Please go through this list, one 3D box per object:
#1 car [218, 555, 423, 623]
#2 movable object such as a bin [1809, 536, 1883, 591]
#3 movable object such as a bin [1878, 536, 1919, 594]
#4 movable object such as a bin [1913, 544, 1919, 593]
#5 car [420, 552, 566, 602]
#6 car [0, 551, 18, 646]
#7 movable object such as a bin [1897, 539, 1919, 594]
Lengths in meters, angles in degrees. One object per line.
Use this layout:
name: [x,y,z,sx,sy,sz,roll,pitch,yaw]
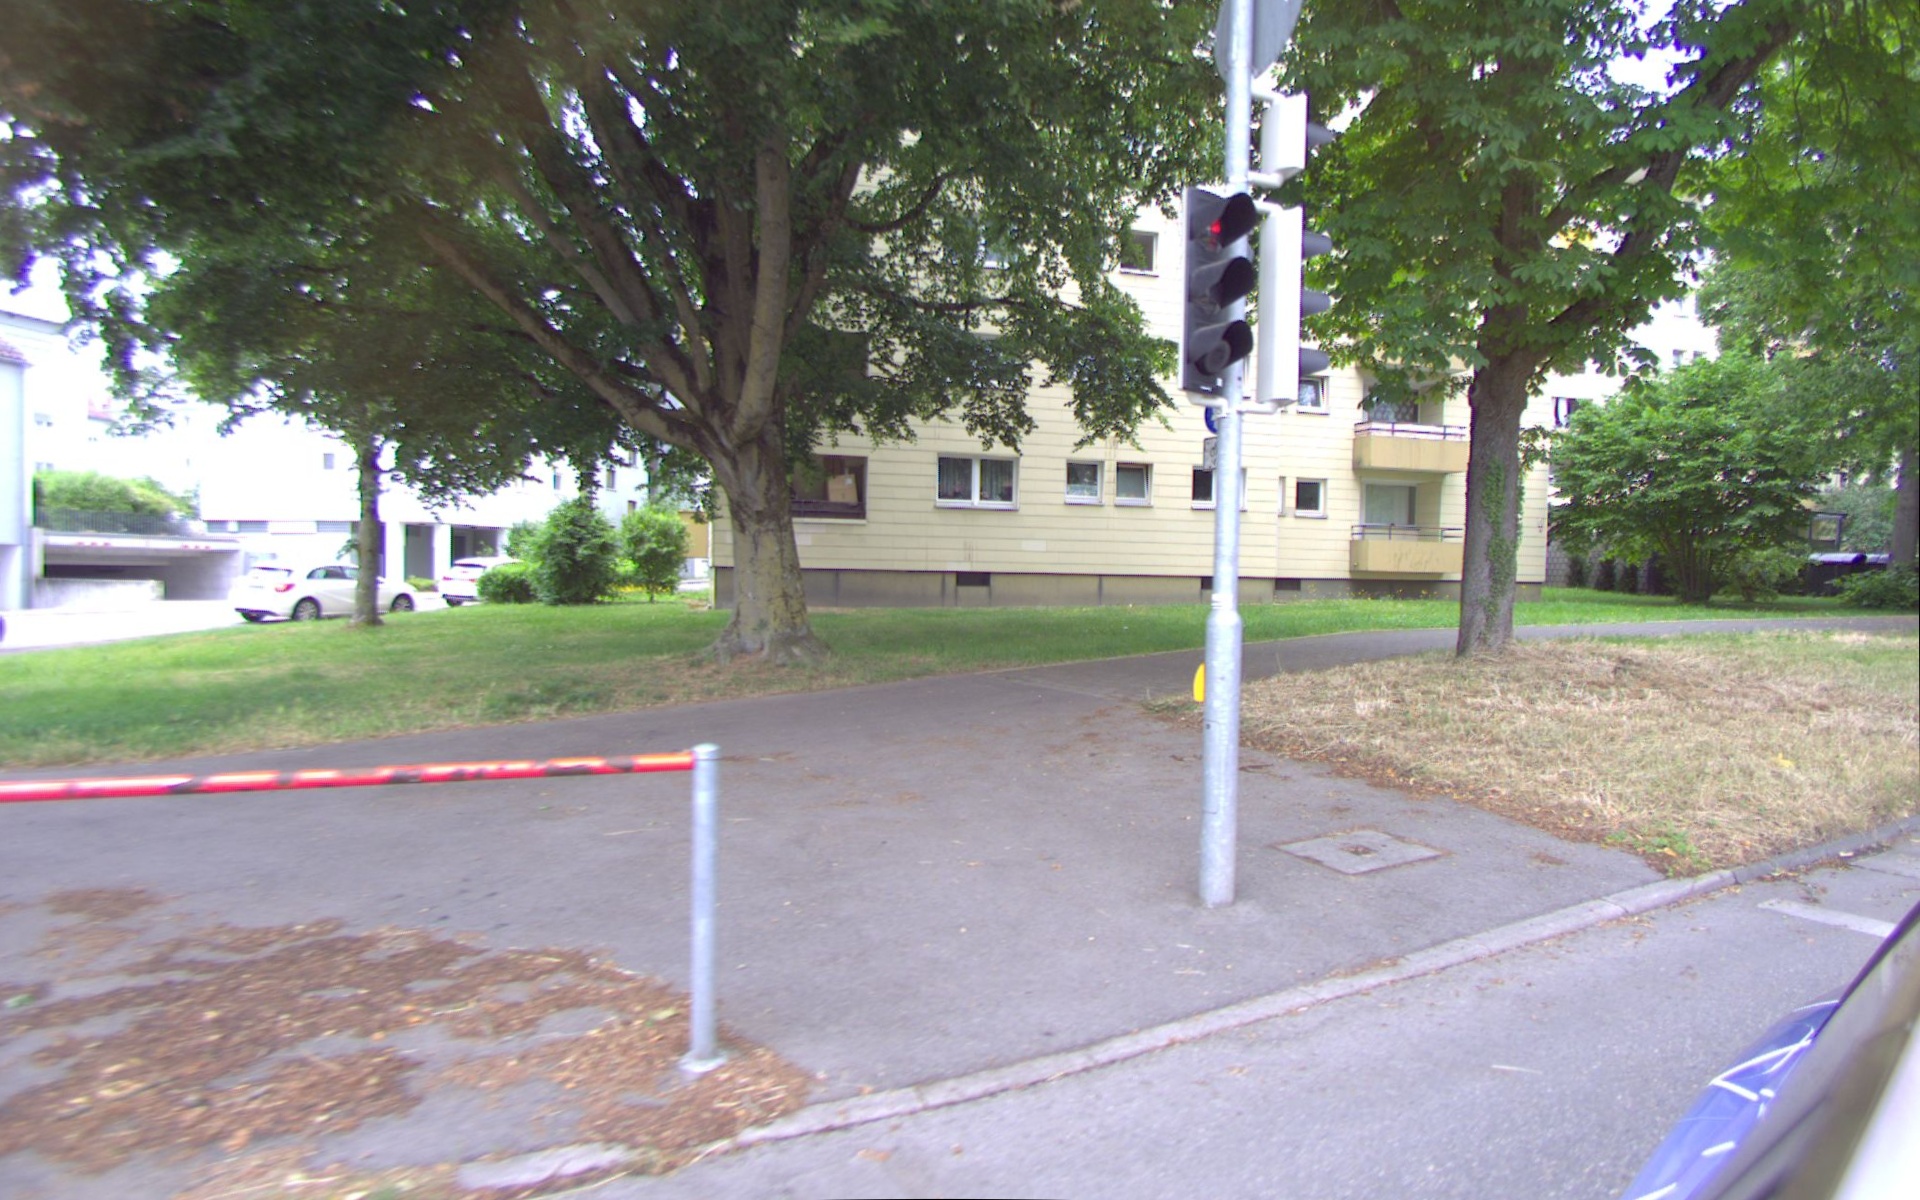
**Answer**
car: [-15.363,-0.333,24.597,1.771,1.451,4.051,1,3,17]
movable object such as a bin: [27.591,-1.161,31.526,1.000,1.661,1.438,-2,5,-30]
movable object such as a bin: [28.437,-1.060,30.181,1.000,1.661,1.280,-2,5,-30]
movable object such as a bin: [30.616,-0.965,31.298,1.178,1.492,1.331,-2,5,-30]
car: [-13.935,-0.741,30.464,1.771,1.371,4.051,2,3,17]
car: [-17.032,0.020,15.445,1.783,1.611,3.828,-1,1,-1]
movable object such as a bin: [29.547,-1.014,30.768,1.054,1.661,1.242,-2,5,-30]
